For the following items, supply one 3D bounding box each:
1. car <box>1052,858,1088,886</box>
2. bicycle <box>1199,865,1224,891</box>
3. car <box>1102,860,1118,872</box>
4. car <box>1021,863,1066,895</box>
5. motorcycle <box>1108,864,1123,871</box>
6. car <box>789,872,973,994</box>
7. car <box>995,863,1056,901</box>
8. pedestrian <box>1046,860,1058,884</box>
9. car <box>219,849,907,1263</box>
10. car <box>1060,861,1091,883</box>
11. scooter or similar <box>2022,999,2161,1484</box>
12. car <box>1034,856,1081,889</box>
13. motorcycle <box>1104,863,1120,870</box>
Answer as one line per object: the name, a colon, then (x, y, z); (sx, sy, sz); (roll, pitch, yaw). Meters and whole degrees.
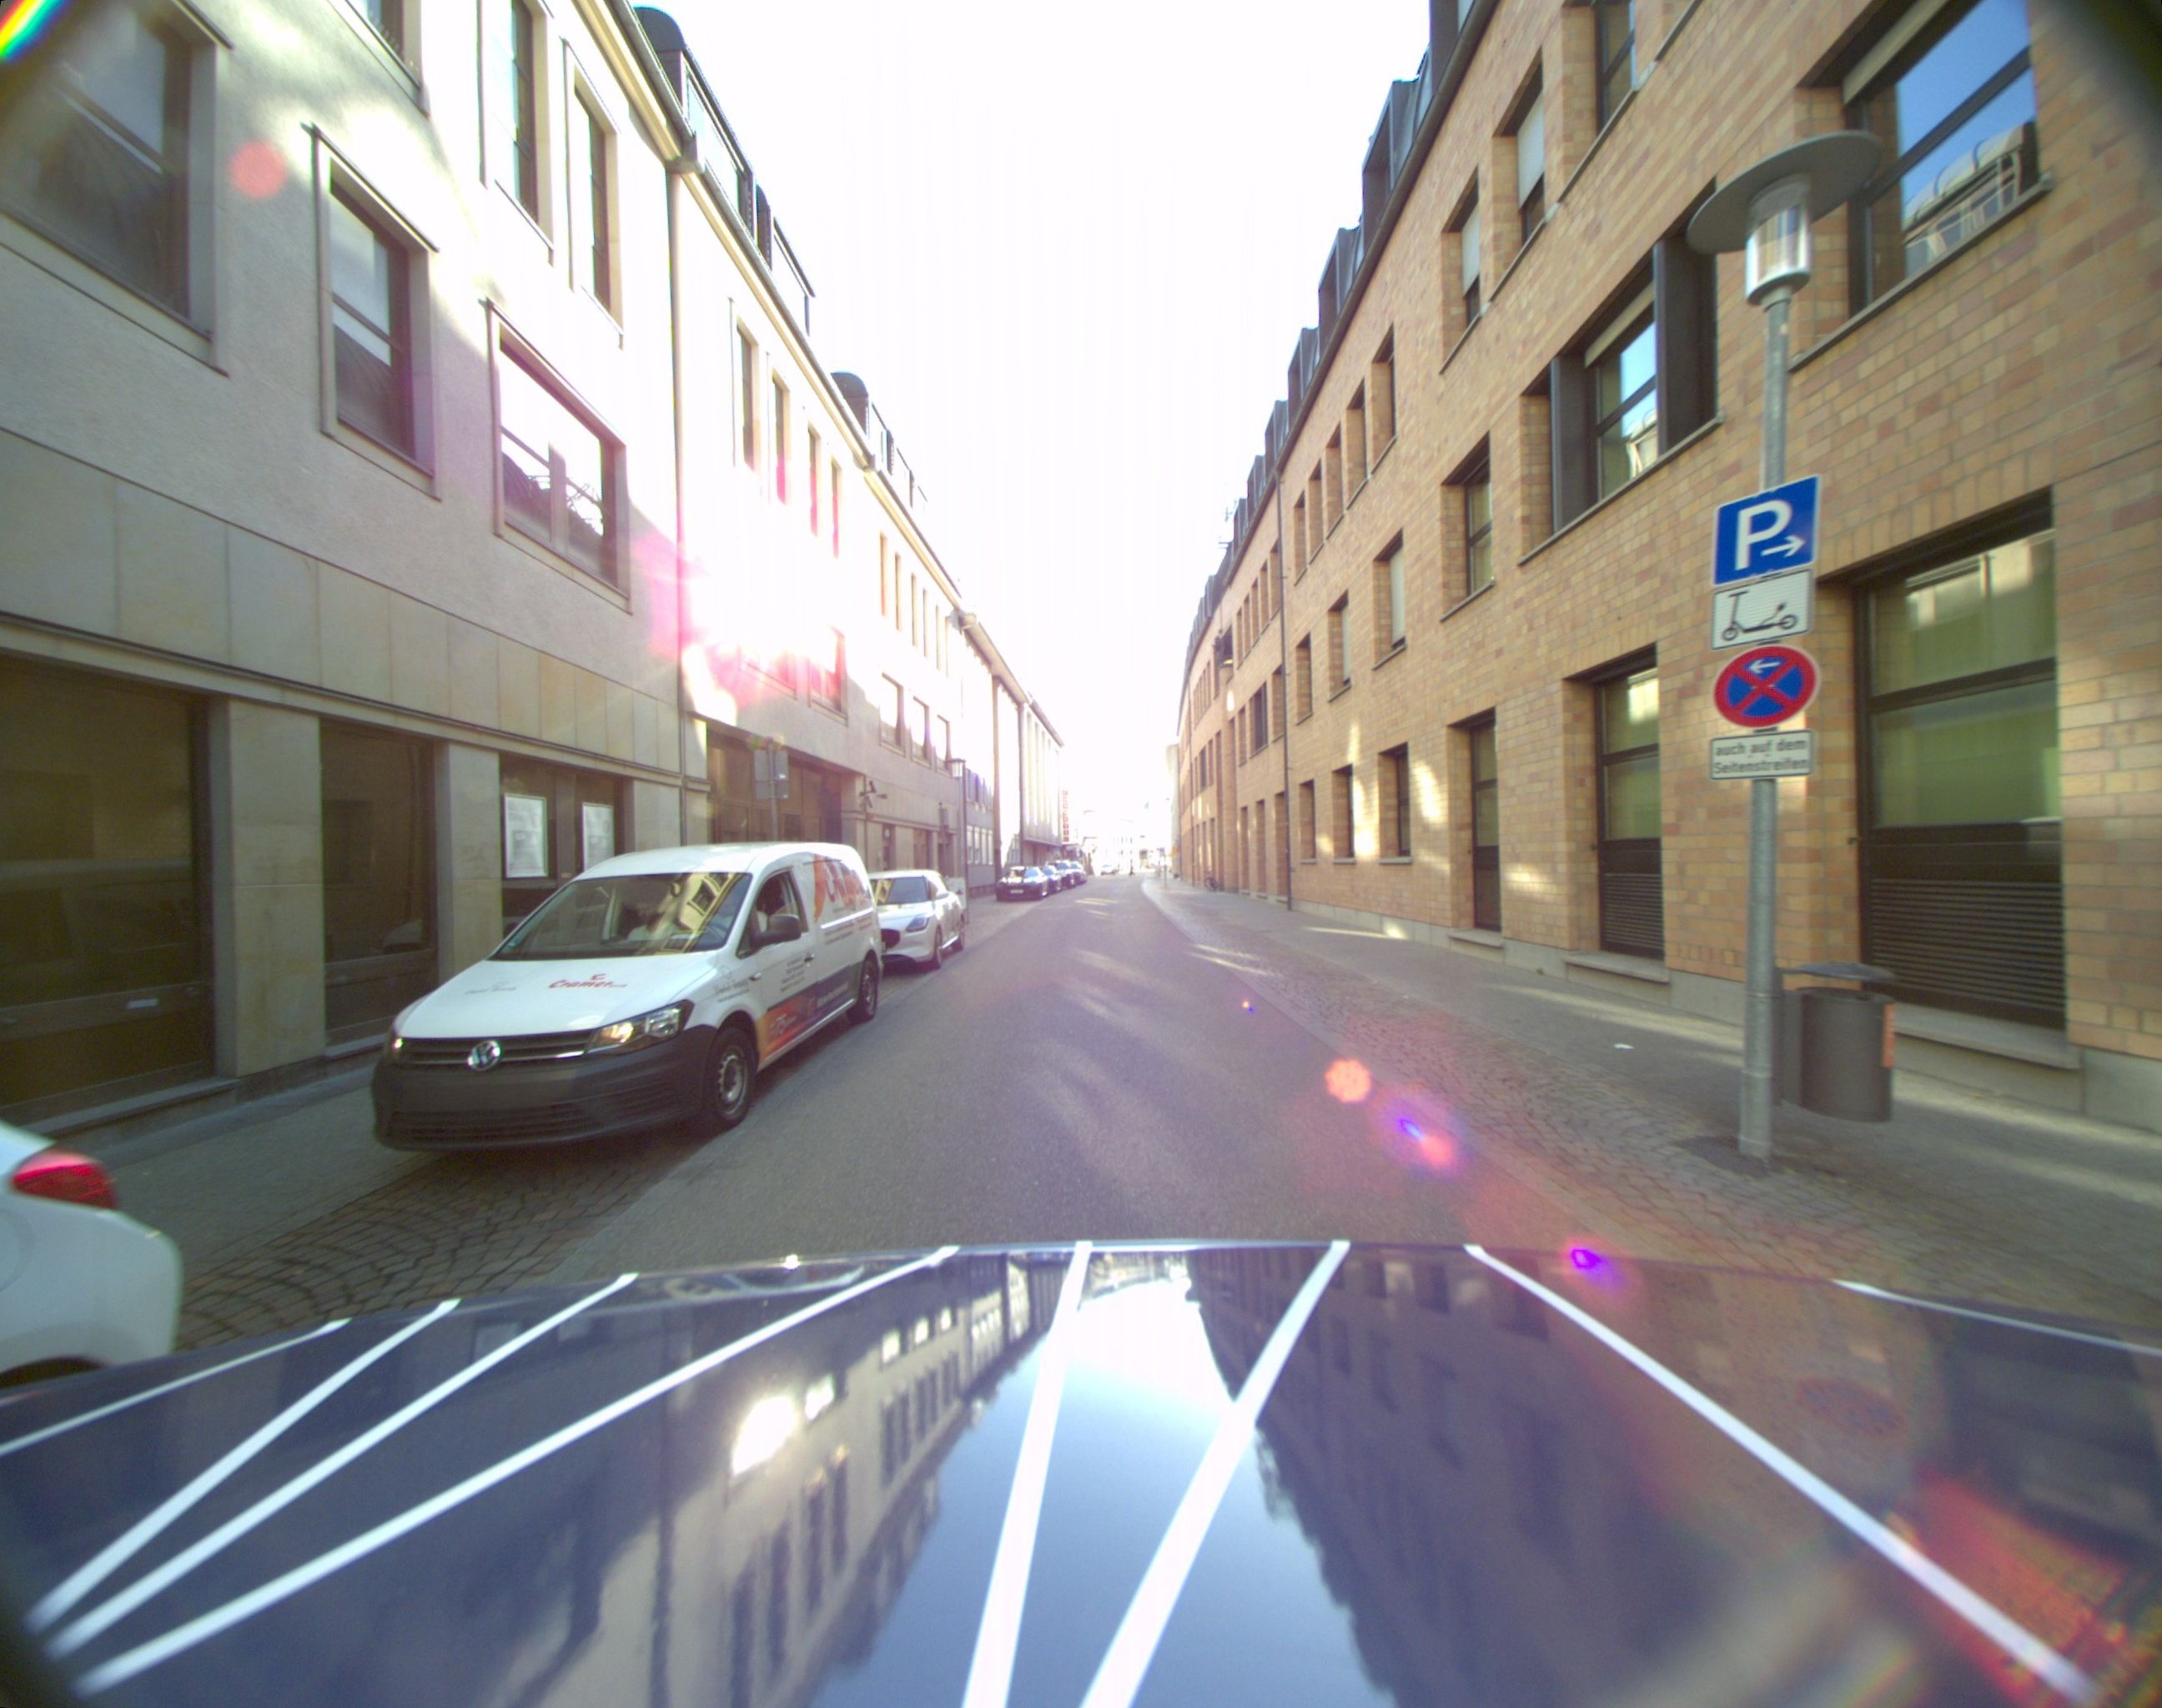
car: (-0.710, 1.215, 53.130); (1.998, 1.692, 4.845); (-4, -1, 5)
bicycle: (5.970, 1.089, 34.847); (0.633, 1.155, 1.803); (-4, 0, -5)
car: (3.783, 1.514, 98.612); (1.846, 1.453, 4.001); (-3, -1, 6)
car: (-1.876, 1.254, 39.451); (1.811, 1.404, 4.791); (-4, 0, 3)
motorcycle: (4.993, 1.881, 109.676); (1.995, 0.950, 0.646); (-2, 0, 19)
car: (-2.981, 1.113, 12.323); (1.845, 1.469, 4.168); (-4, 0, -1)
car: (-2.351, 1.172, 33.432); (1.898, 1.444, 5.227); (-3, 0, 4)
pedestrian: (-2.109, 1.299, 55.051); (0.790, 1.711, 0.747); (1, 0, 4)
car: (-2.910, 0.911, 6.016); (1.835, 1.780, 5.213); (-2, 0, 0)
car: (-0.369, 1.351, 58.403); (1.827, 1.495, 4.602); (-4, -1, 5)
scooter or similar: (3.167, 1.089, 1.791); (0.698, 1.210, 1.359); (-1, 0, 27)
car: (-1.335, 1.083, 45.612); (2.108, 1.775, 5.054); (-3, 0, 5)
motorcycle: (4.317, 1.788, 105.815); (1.995, 0.950, 0.646); (-2, 0, 19)
